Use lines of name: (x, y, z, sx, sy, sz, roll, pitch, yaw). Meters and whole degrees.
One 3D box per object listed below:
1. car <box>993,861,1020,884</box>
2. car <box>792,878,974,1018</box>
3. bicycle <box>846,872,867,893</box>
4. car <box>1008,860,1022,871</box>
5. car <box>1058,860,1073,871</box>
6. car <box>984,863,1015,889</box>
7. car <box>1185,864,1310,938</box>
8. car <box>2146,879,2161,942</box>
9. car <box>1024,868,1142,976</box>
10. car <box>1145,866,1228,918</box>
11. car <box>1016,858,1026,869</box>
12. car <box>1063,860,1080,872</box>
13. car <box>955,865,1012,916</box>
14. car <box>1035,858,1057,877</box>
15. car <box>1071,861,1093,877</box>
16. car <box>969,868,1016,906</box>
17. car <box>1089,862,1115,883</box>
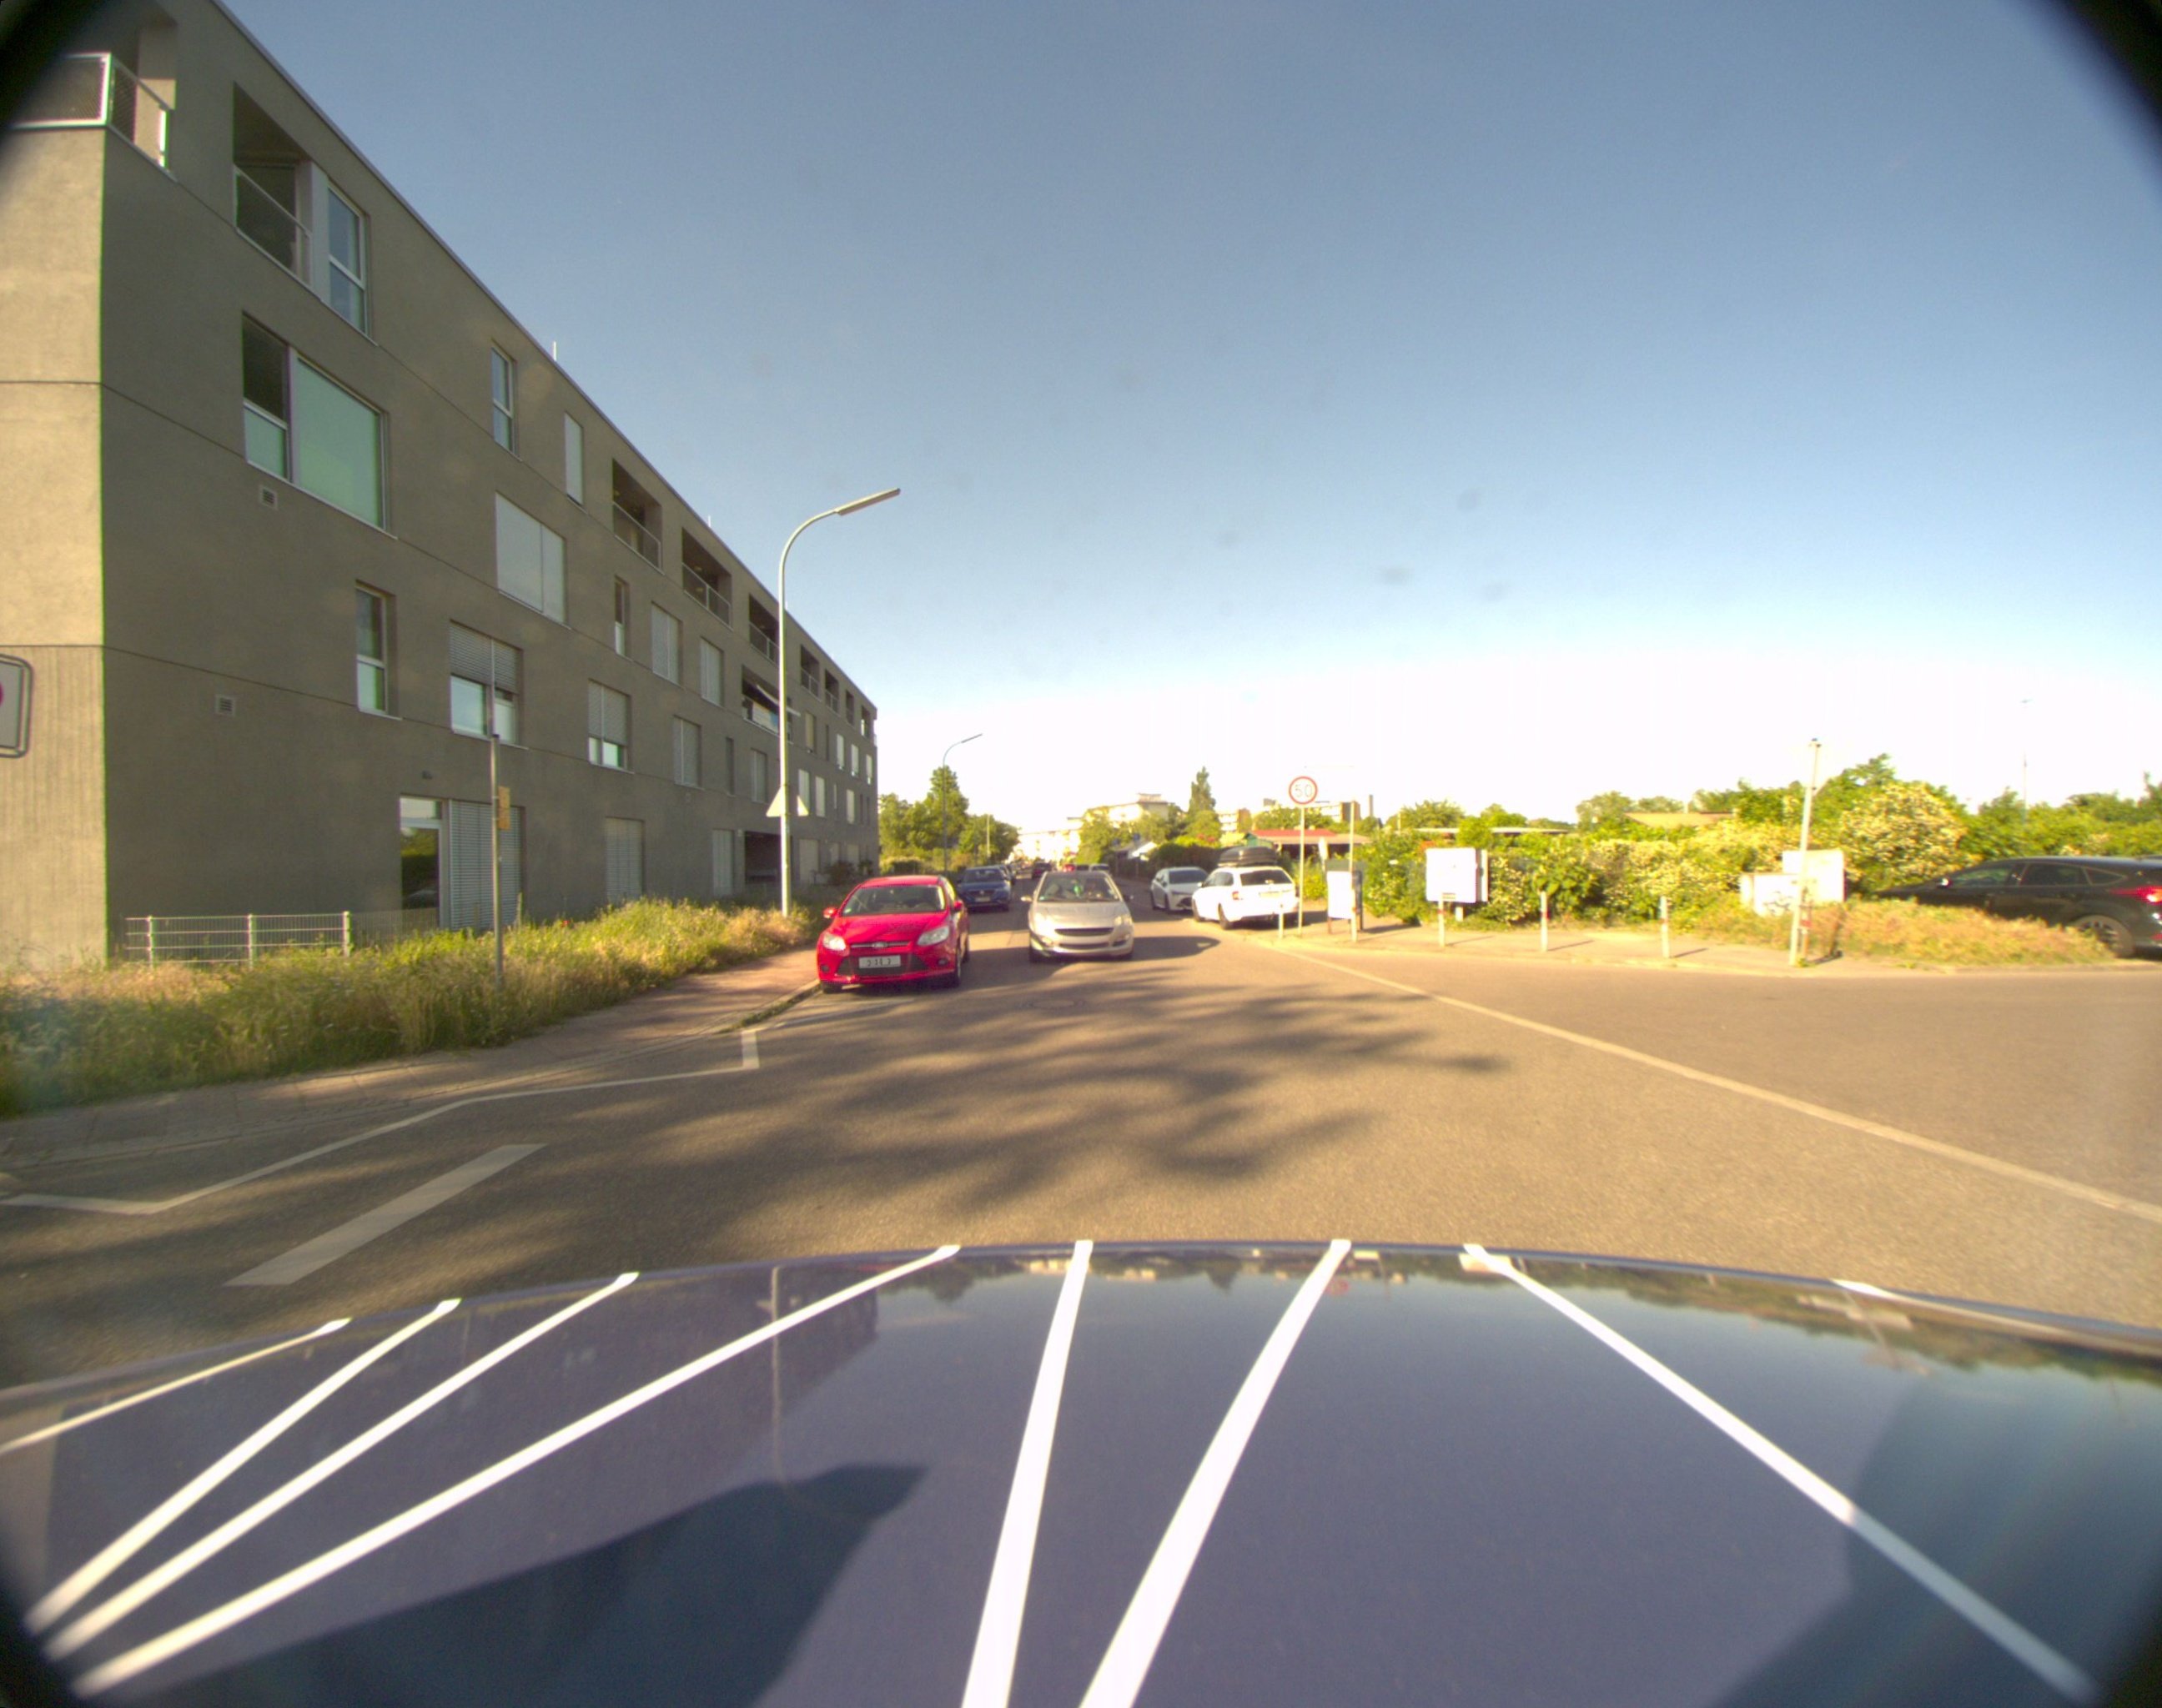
car: (-5.613, 1.382, 57.872, 1.749, 1.557, 4.802, -3, 0, -2)
car: (-2.634, 1.172, 11.184, 1.824, 1.491, 4.450, -2, 0, -5)
bicycle: (-12.144, 1.521, 41.106, 0.553, 1.055, 1.842, -2, 0, 0)
car: (-9.373, 1.626, 108.472, 1.874, 1.517, 4.153, -1, 0, -3)
car: (-2.039, 1.514, 100.290, 1.701, 1.361, 3.909, -1, 0, -5)
car: (-5.188, 1.377, 48.846, 1.711, 1.517, 4.153, -2, 0, -3)
car: (3.958, 1.057, 18.846, 1.700, 1.504, 4.515, -4, -1, -5)
car: (20.535, 1.021, 12.203, 1.509, 1.145, 3.847, -1, 0, 2)
car: (0.024, 1.039, 13.188, 1.679, 1.440, 4.000, -3, 0, 0)
car: (3.398, 1.185, 25.260, 1.752, 1.437, 4.539, -4, 0, -4)
car: (-11.936, 1.871, 152.079, 1.999, 2.002, 3.999, -1, 0, -4)
car: (-1.165, 1.424, 90.427, 1.701, 1.421, 4.384, -1, 0, -5)
car: (-3.488, 1.268, 27.907, 1.822, 1.590, 4.625, -3, 0, -5)
car: (-3.315, 1.303, 72.458, 1.948, 1.717, 4.837, -1, 0, -3)
car: (0.075, 1.393, 71.564, 1.701, 1.415, 4.515, -1, 0, -5)
car: (-3.869, 1.395, 33.735, 1.750, 1.421, 4.584, -3, 0, -4)
car: (1.490, 1.306, 54.647, 1.532, 1.479, 3.400, -1, 0, -5)
